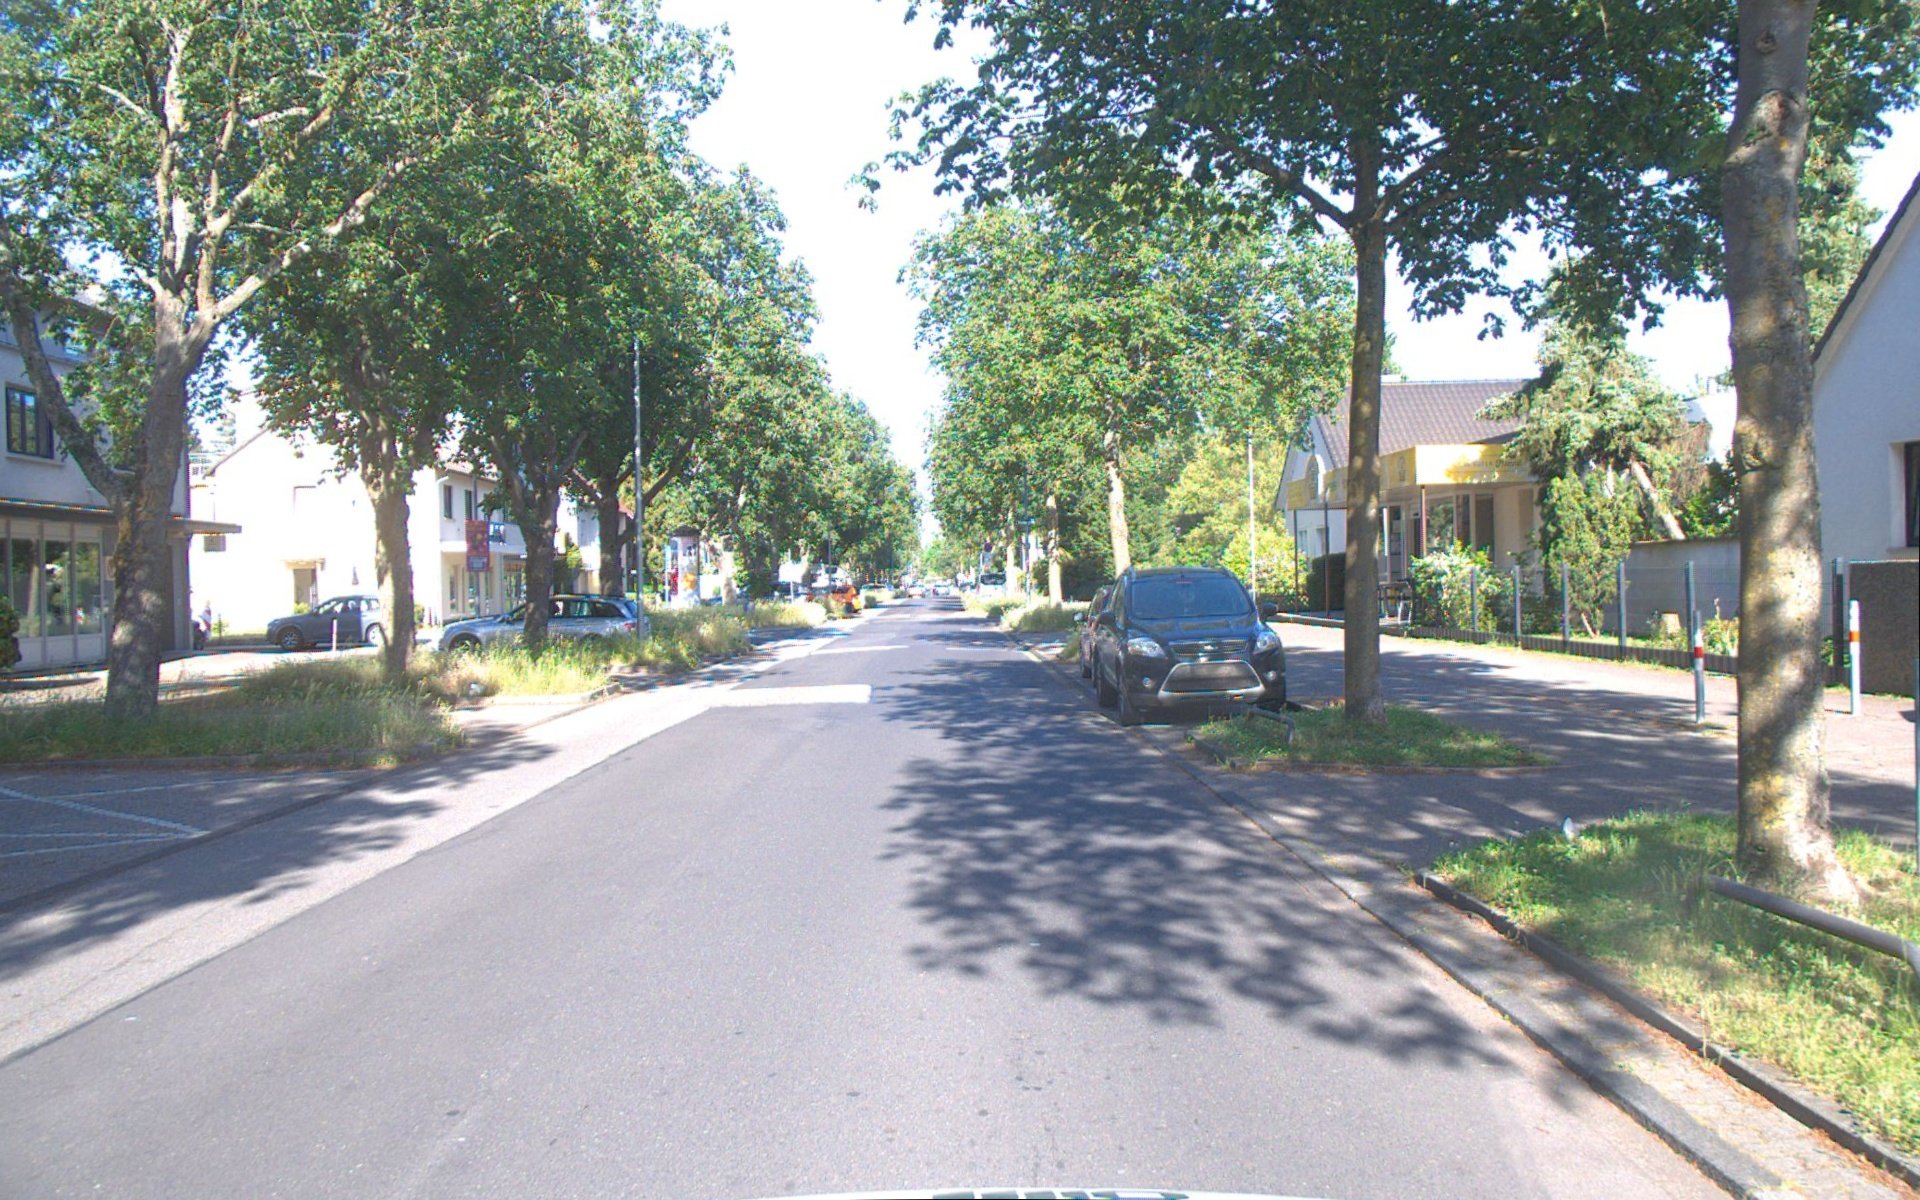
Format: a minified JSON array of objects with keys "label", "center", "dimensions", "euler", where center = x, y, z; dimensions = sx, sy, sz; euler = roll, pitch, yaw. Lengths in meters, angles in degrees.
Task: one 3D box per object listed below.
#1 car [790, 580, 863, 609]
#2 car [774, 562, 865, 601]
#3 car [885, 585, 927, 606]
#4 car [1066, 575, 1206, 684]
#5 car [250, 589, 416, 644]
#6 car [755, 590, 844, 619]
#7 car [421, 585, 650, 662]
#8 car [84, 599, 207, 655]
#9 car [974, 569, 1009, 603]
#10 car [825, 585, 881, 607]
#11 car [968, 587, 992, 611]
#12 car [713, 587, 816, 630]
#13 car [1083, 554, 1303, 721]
[{"label":"car","center":[-7.360,-0.290,91.667],"dimensions":[3.795,1.504,1.894],"euler":[1,0,2]},{"label":"car","center":[-8.551,-1.116,101.034],"dimensions":[5.388,2.286,2.516],"euler":[0,2,-3]},{"label":"car","center":[-5.362,-0.466,164.278],"dimensions":[3.903,2.048,2.001],"euler":[1,2,3]},{"label":"car","center":[2.675,0.425,25.900],"dimensions":[1.663,1.504,3.887],"euler":[-3,0,-1]},{"label":"car","center":[-19.686,0.503,52.085],"dimensions":[4.465,1.646,1.999],"euler":[0,2,-5]},{"label":"car","center":[-7.682,0.216,79.312],"dimensions":[4.204,1.338,1.907],"euler":[0,2,-6]},{"label":"car","center":[-9.086,0.487,35.646],"dimensions":[4.462,1.537,1.841],"euler":[0,2,-1]},{"label":"car","center":[-20.940,0.671,42.660],"dimensions":[1.510,1.258,3.510],"euler":[0,2,-2]},{"label":"car","center":[1.723,-0.760,92.157],"dimensions":[1.864,1.805,4.301],"euler":[0,0,0]},{"label":"car","center":[-7.373,-0.290,114.159],"dimensions":[3.624,1.471,1.665],"euler":[0,0,3]},{"label":"car","center":[1.545,-0.081,130.338],"dimensions":[1.864,1.805,4.301],"euler":[0,0,0]},{"label":"car","center":[-8.627,0.360,73.269],"dimensions":[4.457,1.796,1.998],"euler":[0,2,-6]},{"label":"car","center":[2.586,0.394,19.392],"dimensions":[1.815,1.654,4.468],"euler":[-3,0,-1]}]
